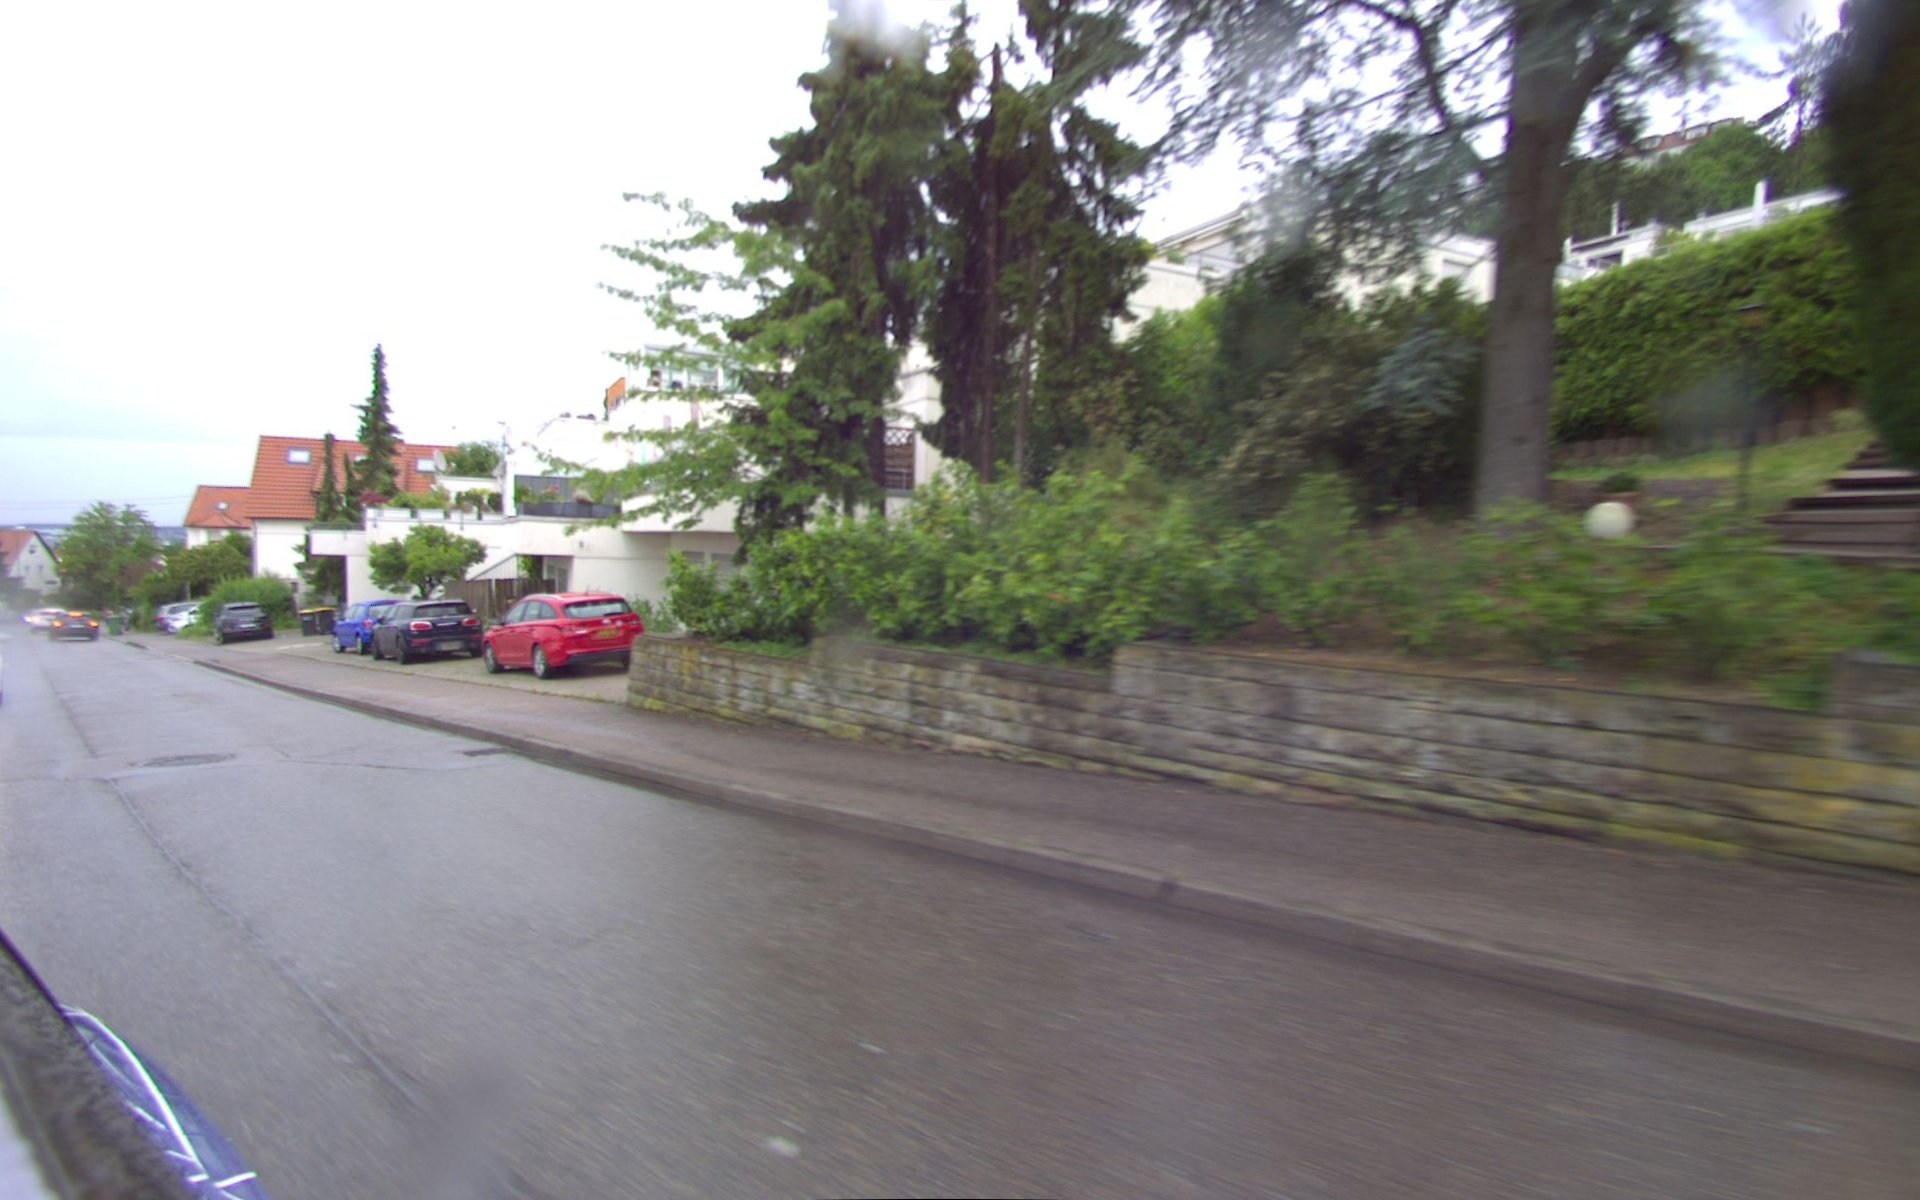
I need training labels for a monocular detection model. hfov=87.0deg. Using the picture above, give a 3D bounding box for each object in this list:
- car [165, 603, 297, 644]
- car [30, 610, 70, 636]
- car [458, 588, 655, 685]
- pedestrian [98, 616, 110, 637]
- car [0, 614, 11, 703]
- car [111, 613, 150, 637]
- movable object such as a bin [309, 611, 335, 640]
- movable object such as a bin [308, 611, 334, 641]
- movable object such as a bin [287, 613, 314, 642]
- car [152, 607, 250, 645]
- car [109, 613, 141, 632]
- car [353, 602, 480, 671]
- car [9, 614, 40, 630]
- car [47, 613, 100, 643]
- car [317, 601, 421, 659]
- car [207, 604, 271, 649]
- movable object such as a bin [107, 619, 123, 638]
[{"bbox_3d":[-35.988,1.139,50.164,5.013,1.959,2.148,1,-1,-27],"label":"car"},{"bbox_3d":[-58.097,1.480,64.558,1.777,1.579,4.388,2,-2,-43],"label":"car"},{"bbox_3d":[-7.607,0.619,18.829,1.754,1.447,4.592,-7,4,-43],"label":"car"},{"bbox_3d":[-70.089,2.176,82.864,0.708,1.647,0.708,1,-1,-42],"label":"pedestrian"},{"bbox_3d":[-16.943,0.956,16.637,1.837,1.388,4.183,-2,0,-45],"label":"car"},{"bbox_3d":[-58.121,1.740,70.896,1.782,1.609,4.422,1,-1,-43],"label":"car"},{"bbox_3d":[-26.092,1.040,41.391,0.714,1.078,0.769,-5,4,-25],"label":"movable object such as a bin"},{"bbox_3d":[-25.688,1.033,40.671,0.714,1.078,0.769,-5,4,-25],"label":"movable object such as a bin"},{"bbox_3d":[-26.772,1.093,41.104,0.714,1.078,0.852,-5,4,-25],"label":"movable object such as a bin"},{"bbox_3d":[-41.763,1.390,55.816,3.999,1.704,1.899,-5,3,-30],"label":"car"},{"bbox_3d":[-67.547,1.773,81.910,1.743,1.386,4.257,-4,2,-36],"label":"car"},{"bbox_3d":[-13.205,0.842,24.473,1.614,1.406,4.243,-5,3,-43],"label":"car"},{"bbox_3d":[-93.780,2.185,101.511,1.792,1.518,4.734,1,-1,-37],"label":"car"},{"bbox_3d":[-44.629,1.404,50.904,1.753,1.448,4.365,4,-3,-44],"label":"car"},{"bbox_3d":[-16.935,0.843,28.922,1.589,1.445,3.962,-5,2,-44],"label":"car"},{"bbox_3d":[-30.059,1.069,42.135,1.669,1.599,4.203,-9,5,-40],"label":"car"},{"bbox_3d":[-48.076,1.614,57.583,0.698,1.072,0.596,-1,0,42],"label":"movable object such as a bin"}]
